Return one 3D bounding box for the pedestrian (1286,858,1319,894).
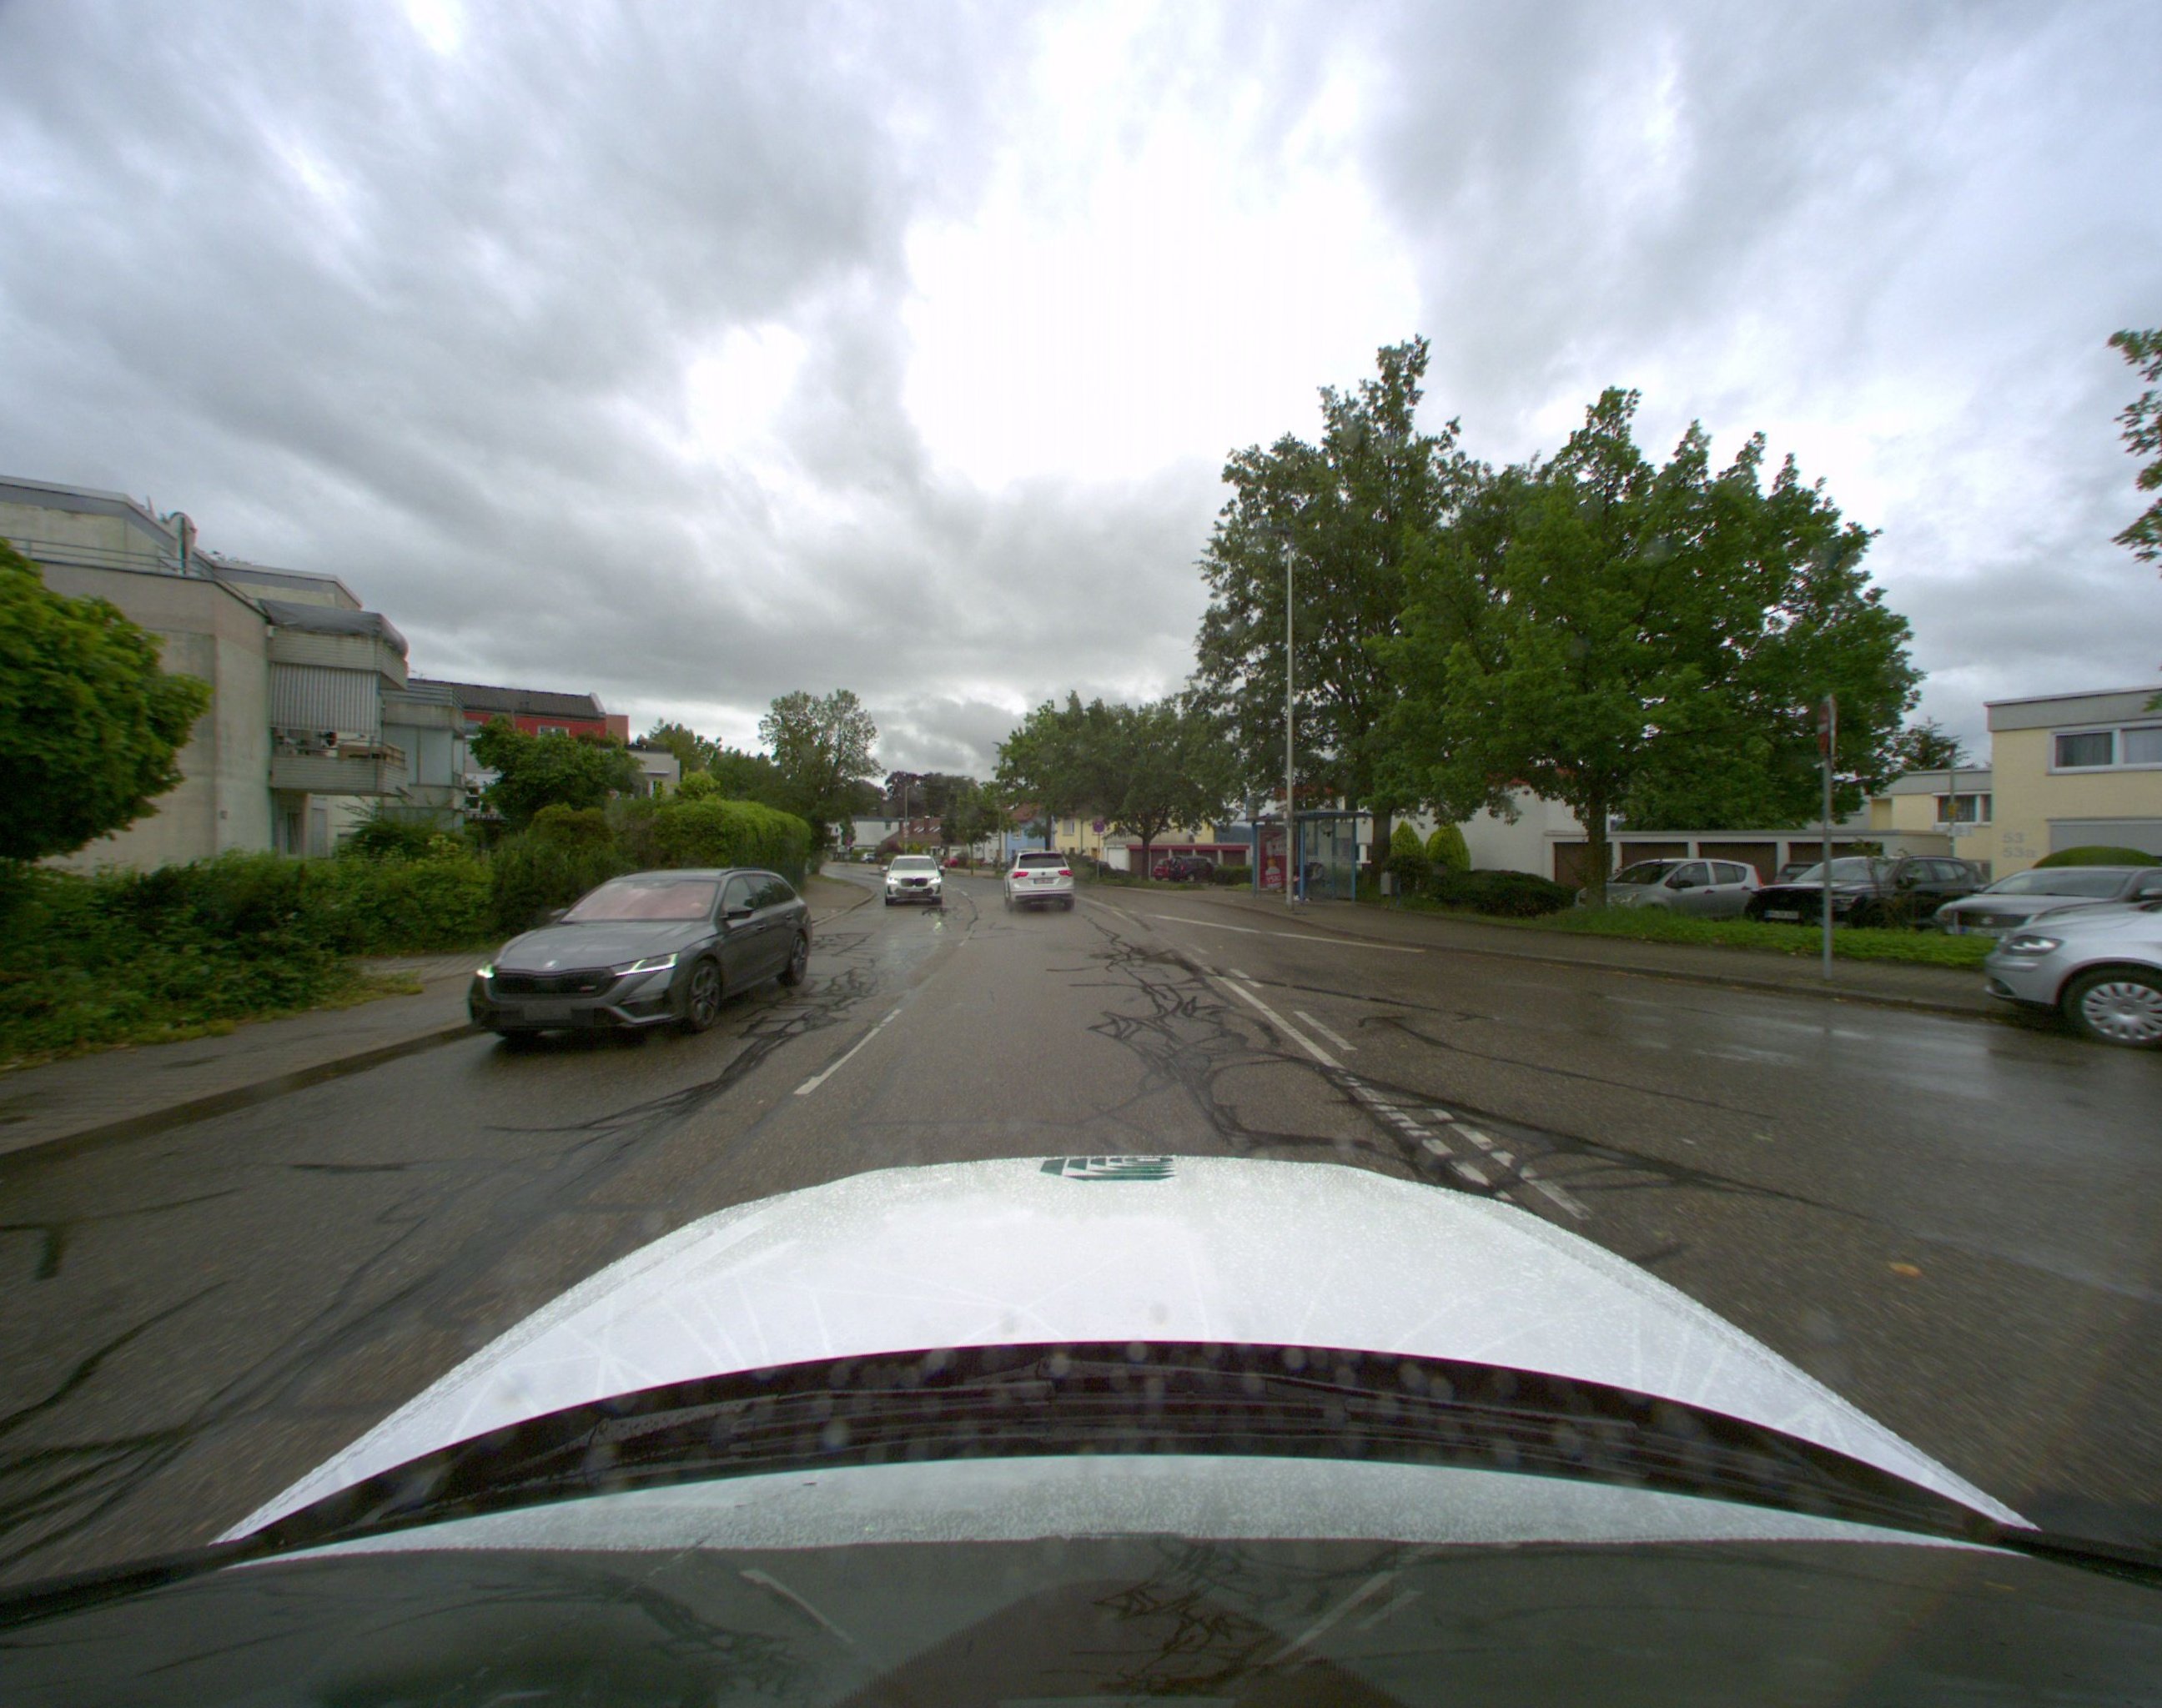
[{"bbox_3d":[6.294,0.619,23.159,0.748,1.011,0.550,0,0,-6],"label":"pedestrian"}]

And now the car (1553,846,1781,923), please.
[{"bbox_3d":[11.985,0.576,16.773,3.643,1.486,1.755,0,0,-8],"label":"car"}]

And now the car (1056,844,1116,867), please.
[{"bbox_3d":[0.397,0.086,62.885,4.206,1.671,1.972,0,0,-31],"label":"car"}]

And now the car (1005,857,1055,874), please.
[{"bbox_3d":[-4.433,1.015,70.883,4.016,1.387,1.657,-1,0,-35],"label":"car"}]

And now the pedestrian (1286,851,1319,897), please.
[{"bbox_3d":[6.093,0.541,22.422,0.725,1.250,0.550,0,0,-6],"label":"pedestrian"}]

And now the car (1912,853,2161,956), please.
[{"bbox_3d":[14.727,0.659,11.982,4.035,1.337,1.725,0,0,-14],"label":"car"}]

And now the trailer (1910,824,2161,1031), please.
[{"bbox_3d":[9.340,0.537,5.870,2.006,1.543,4.383,-1,0,-31],"label":"trailer"}]

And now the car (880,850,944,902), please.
[{"bbox_3d":[-5.770,0.683,28.340,1.890,1.611,4.851,-1,0,-9],"label":"car"}]

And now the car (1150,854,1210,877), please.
[{"bbox_3d":[6.477,0.740,53.379,3.718,1.442,1.689,0,0,-33],"label":"car"}]

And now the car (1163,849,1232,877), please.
[{"bbox_3d":[7.291,0.534,50.746,4.015,1.721,1.904,0,0,-33],"label":"car"}]

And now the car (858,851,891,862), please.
[{"bbox_3d":[-27.768,0.342,109.643,4.015,1.442,1.828,-1,0,-33],"label":"car"}]

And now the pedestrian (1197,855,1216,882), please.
[{"bbox_3d":[7.176,0.817,46.430,0.669,1.558,0.833,0,0,-37],"label":"pedestrian"}]

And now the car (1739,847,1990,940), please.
[{"bbox_3d":[13.877,0.617,14.458,3.656,1.486,1.749,0,0,-19],"label":"car"}]

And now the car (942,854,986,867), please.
[{"bbox_3d":[-12.218,0.718,85.103,4.340,1.260,1.659,1,0,-42],"label":"car"}]

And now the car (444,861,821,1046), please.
[{"bbox_3d":[-4.241,0.808,8.578,1.736,1.414,4.140,0,0,-1],"label":"car"}]

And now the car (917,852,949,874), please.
[{"bbox_3d":[-11.068,0.617,60.753,1.774,1.551,3.974,0,0,-19],"label":"car"}]

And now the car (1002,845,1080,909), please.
[{"bbox_3d":[-1.252,0.599,23.695,1.864,1.650,3.988,-1,0,-9],"label":"car"}]
